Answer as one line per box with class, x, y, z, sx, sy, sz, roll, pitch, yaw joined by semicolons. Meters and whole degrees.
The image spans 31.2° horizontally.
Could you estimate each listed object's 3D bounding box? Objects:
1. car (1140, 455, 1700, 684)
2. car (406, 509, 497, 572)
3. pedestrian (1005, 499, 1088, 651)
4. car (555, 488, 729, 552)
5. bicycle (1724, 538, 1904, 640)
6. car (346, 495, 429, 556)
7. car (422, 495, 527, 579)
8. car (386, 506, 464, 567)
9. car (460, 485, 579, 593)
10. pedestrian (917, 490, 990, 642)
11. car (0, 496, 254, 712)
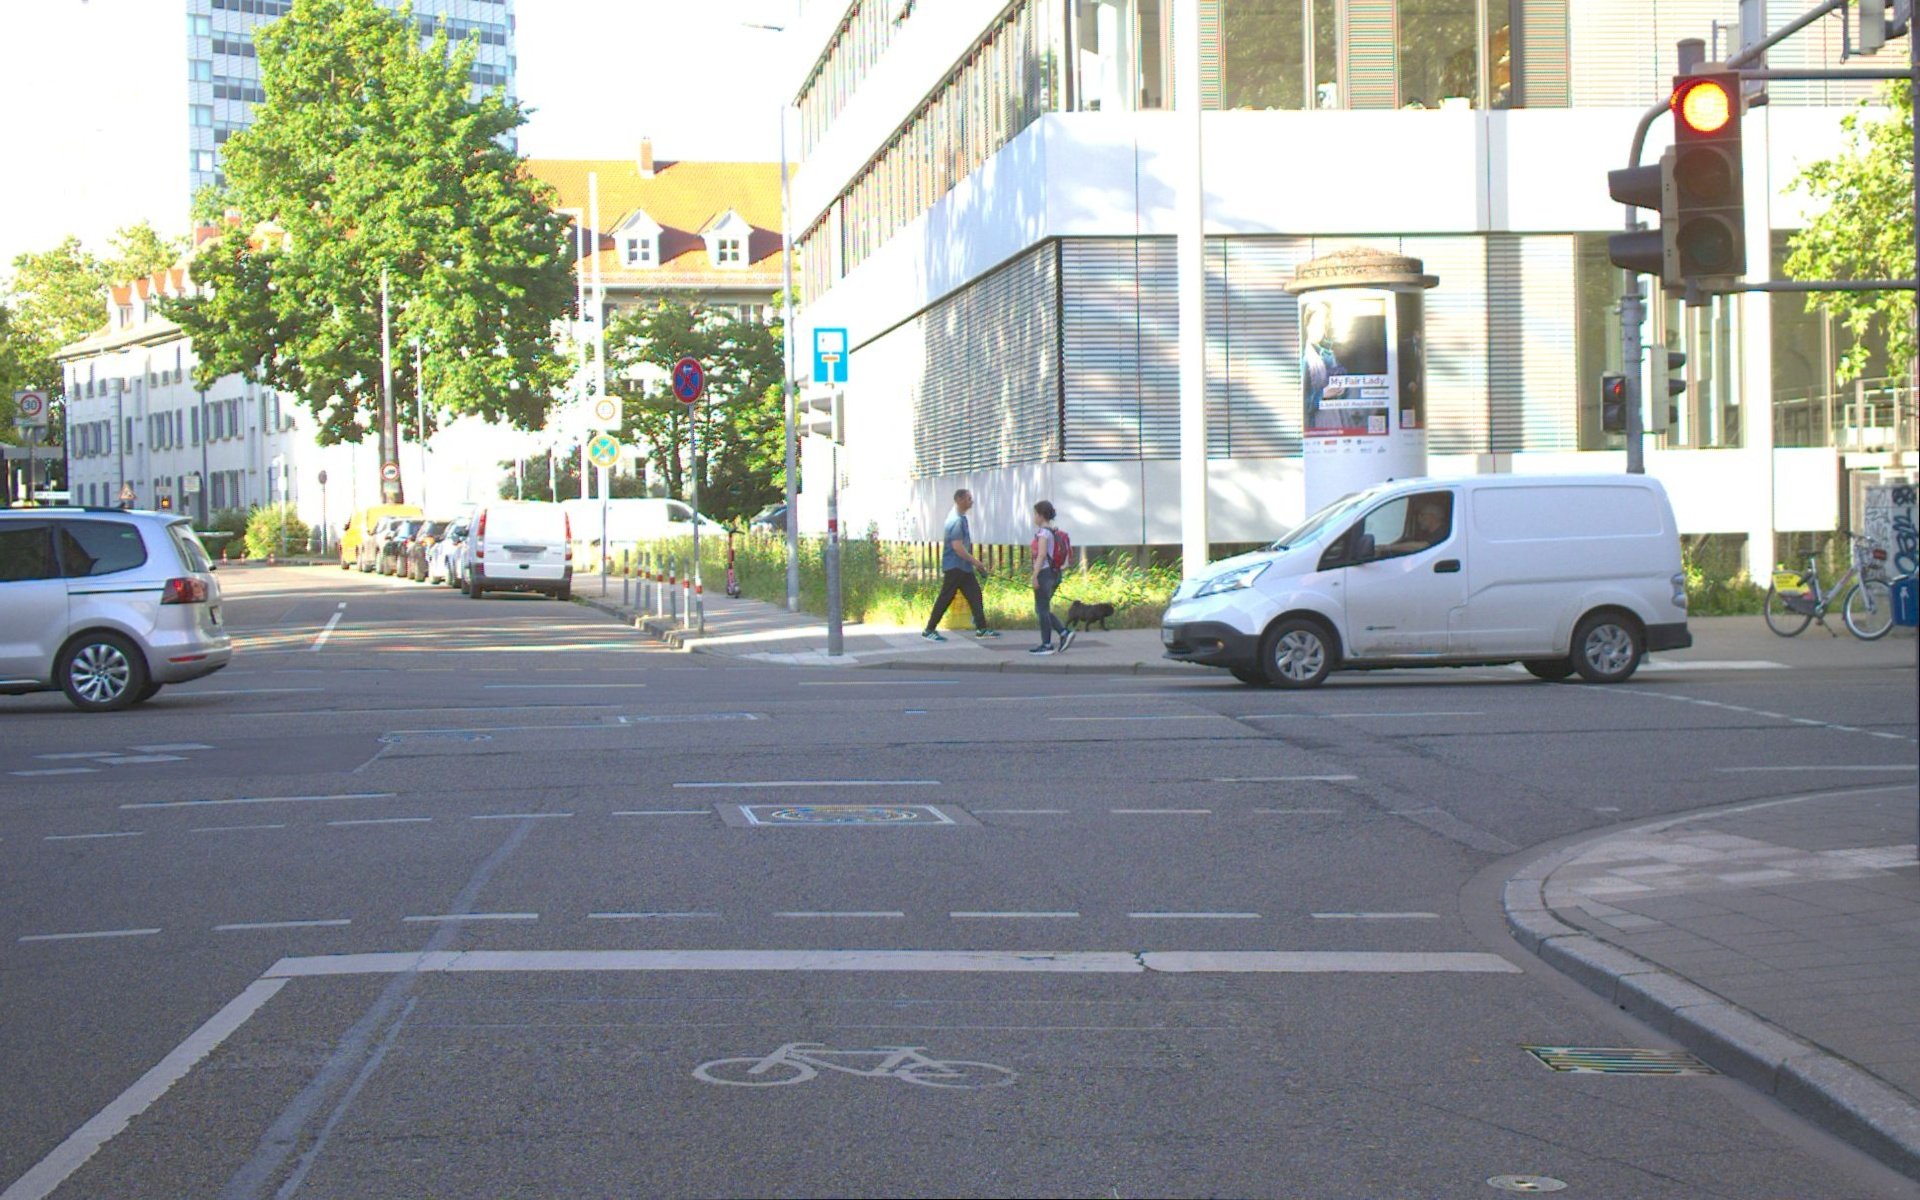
car;3.987;-0.292;30.096;4.539;1.793;1.637;-2;2;-7
car;-12.069;-1.418;81.461;1.703;1.419;4.239;-1;2;-14
pedestrian;0.917;-0.267;36.359;0.712;1.594;0.617;0;2;18
car;-9.552;-2.375;103.246;4.880;1.865;2.001;0;1;-17
bicycle;9.070;-0.128;36.579;0.463;1.045;1.914;-2;2;-42
car;-16.027;-2.091;96.034;2.100;1.652;4.477;-1;2;-11
car;-10.901;-1.426;76.957;1.946;1.789;4.239;-1;2;-13
car;-13.447;-1.616;86.226;1.703;1.459;4.239;-1;2;-11
car;-8.362;-1.175;65.047;2.066;1.956;4.239;-1;2;-9
pedestrian;-0.075;-0.396;39.735;0.653;1.730;0.812;-1;1;13
car;-8.468;0.055;28.893;4.758;1.701;1.800;-2;2;-6
